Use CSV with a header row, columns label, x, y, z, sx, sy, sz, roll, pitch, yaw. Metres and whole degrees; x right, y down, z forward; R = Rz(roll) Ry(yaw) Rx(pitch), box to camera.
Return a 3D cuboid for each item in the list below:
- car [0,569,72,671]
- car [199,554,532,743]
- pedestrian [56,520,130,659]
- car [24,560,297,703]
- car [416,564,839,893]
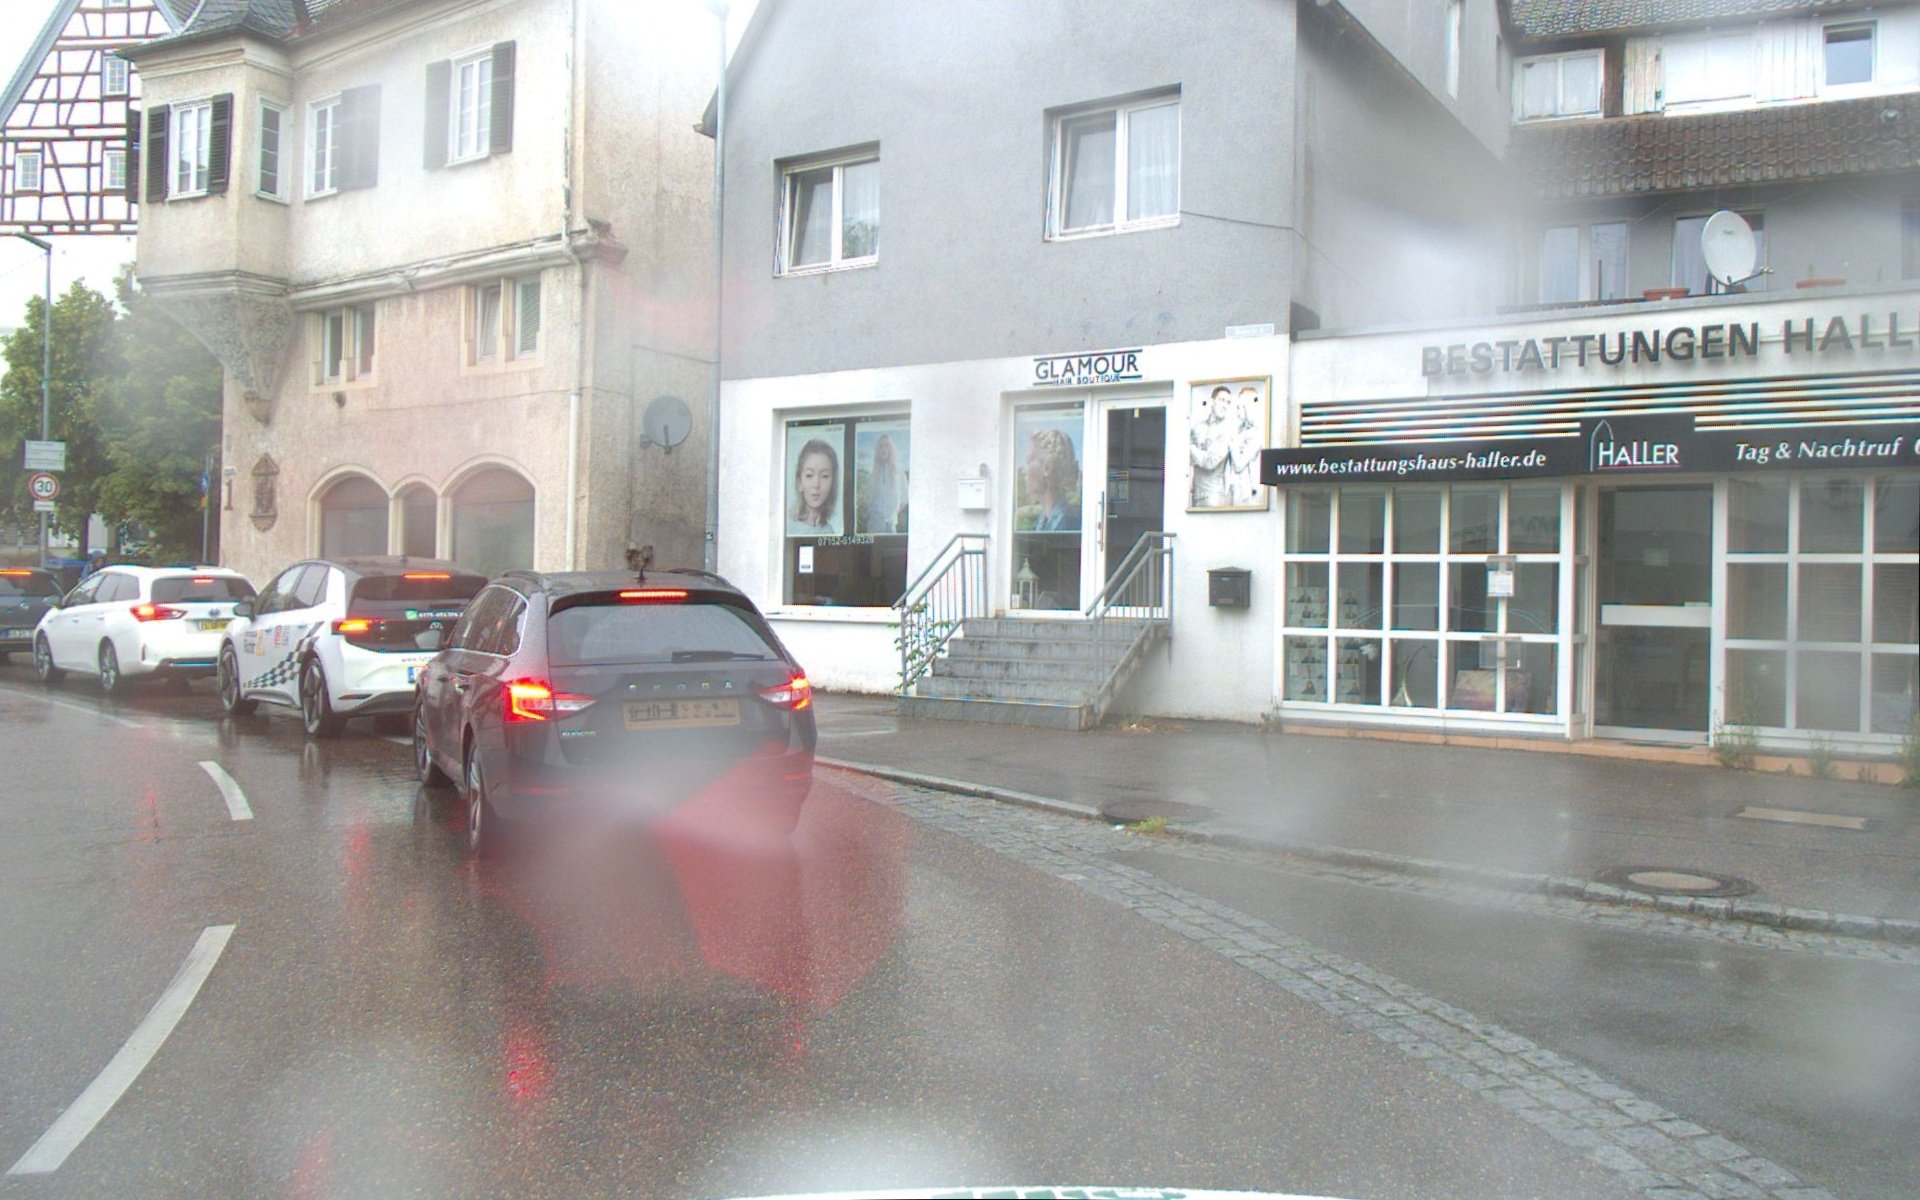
label,x,y,z,sx,sy,sz,roll,pitch,yaw
car,-14.902,0.257,24.963,3.701,1.385,1.514,2,3,42
car,-5.775,0.356,15.762,1.777,1.543,4.183,-1,1,-38
pedestrian,-15.193,-0.190,28.970,0.861,2.367,1.211,0,0,-43
car,-9.760,0.290,20.053,1.778,1.490,4.096,-1,3,-45
car,-2.205,0.549,9.956,1.709,1.475,4.212,0,2,-23
